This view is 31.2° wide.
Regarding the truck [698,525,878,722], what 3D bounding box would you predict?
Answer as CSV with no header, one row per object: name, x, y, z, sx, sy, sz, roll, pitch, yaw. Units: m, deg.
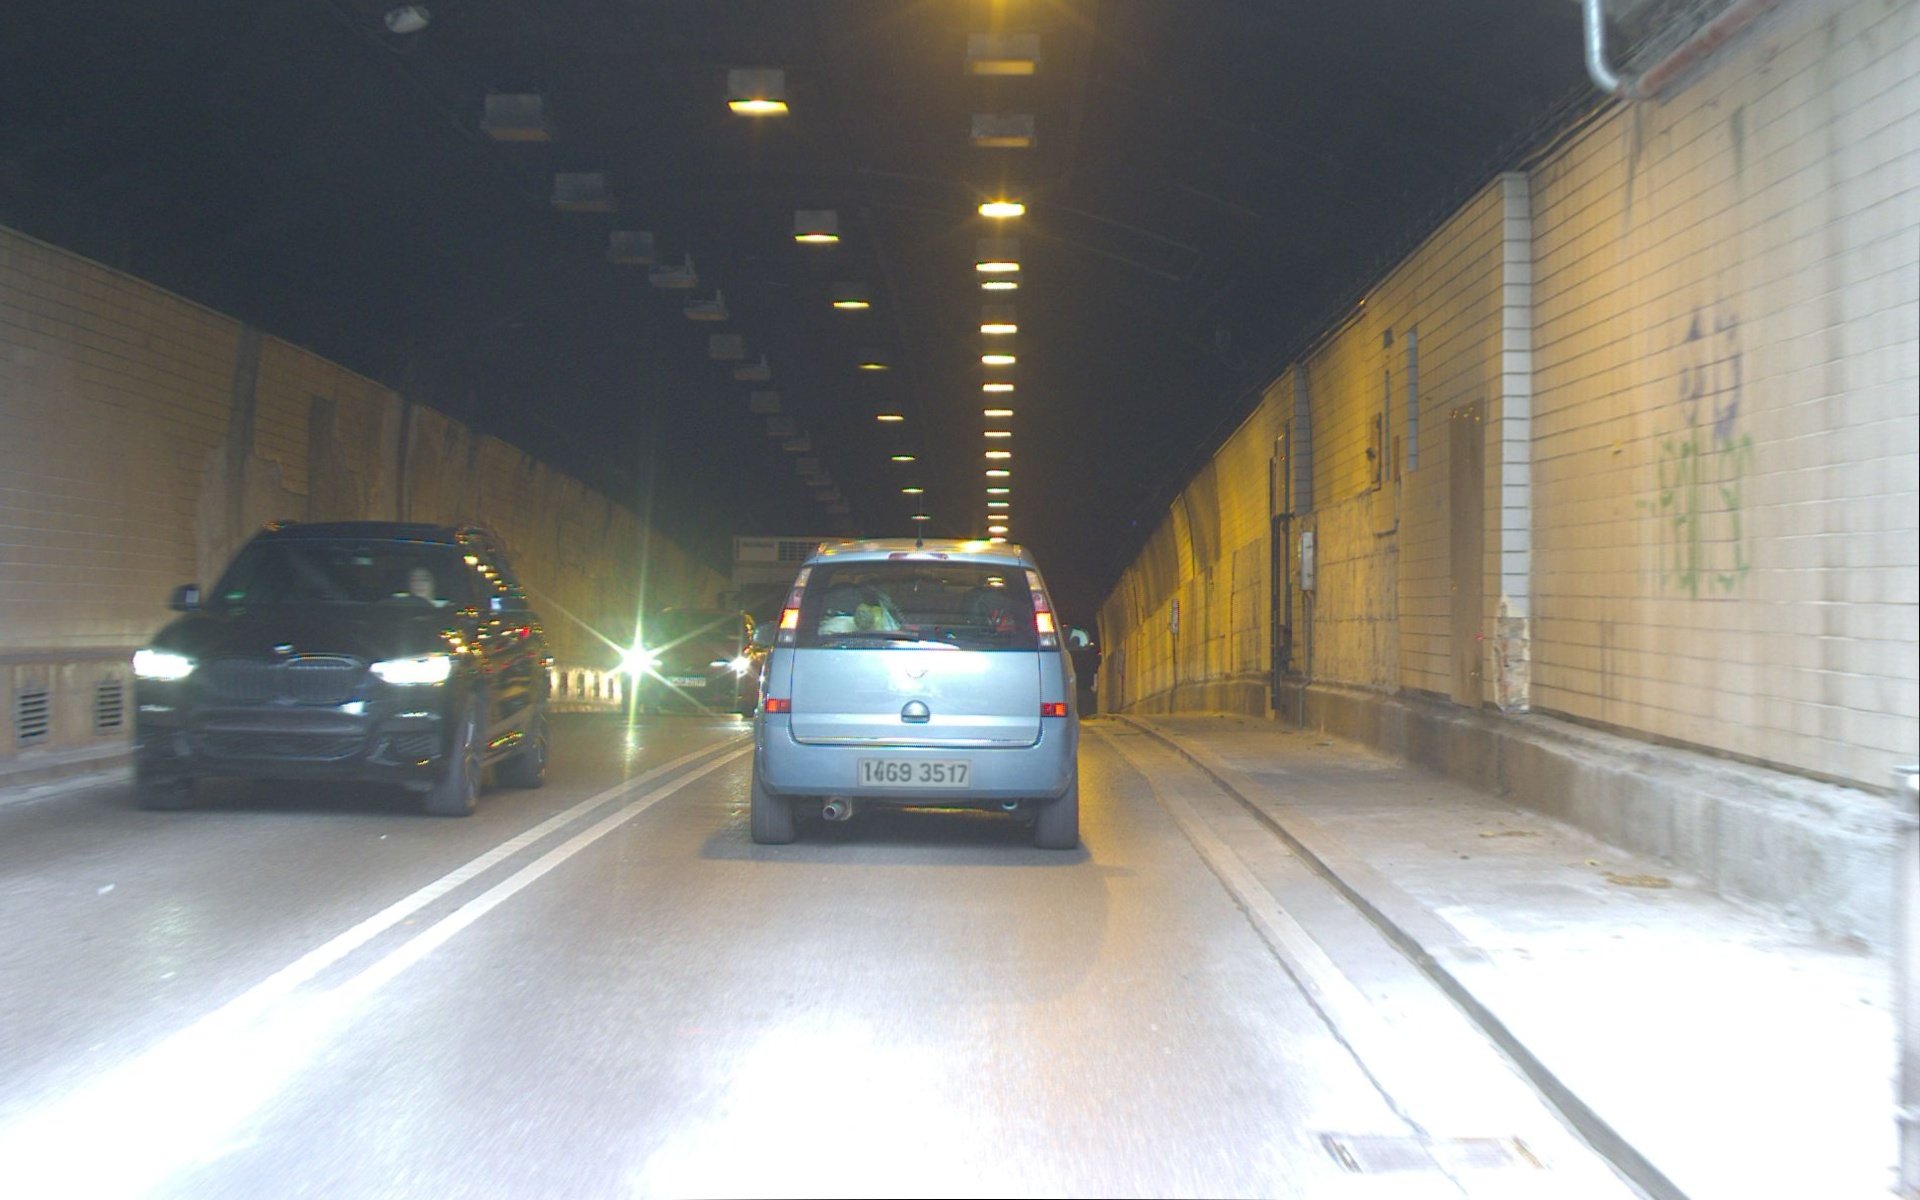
truck,-3.372,0.584,69.372,2.814,3.704,7.544,1,-2,3

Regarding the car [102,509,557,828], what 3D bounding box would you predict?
car,-3.620,0.352,20.530,1.879,1.670,4.377,1,0,0

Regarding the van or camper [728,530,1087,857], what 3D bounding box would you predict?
van or camper,-0.280,0.460,18.705,1.735,1.572,3.646,1,0,-1

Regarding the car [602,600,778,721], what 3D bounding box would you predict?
car,-3.503,0.799,45.299,1.893,1.464,4.160,1,-1,1
